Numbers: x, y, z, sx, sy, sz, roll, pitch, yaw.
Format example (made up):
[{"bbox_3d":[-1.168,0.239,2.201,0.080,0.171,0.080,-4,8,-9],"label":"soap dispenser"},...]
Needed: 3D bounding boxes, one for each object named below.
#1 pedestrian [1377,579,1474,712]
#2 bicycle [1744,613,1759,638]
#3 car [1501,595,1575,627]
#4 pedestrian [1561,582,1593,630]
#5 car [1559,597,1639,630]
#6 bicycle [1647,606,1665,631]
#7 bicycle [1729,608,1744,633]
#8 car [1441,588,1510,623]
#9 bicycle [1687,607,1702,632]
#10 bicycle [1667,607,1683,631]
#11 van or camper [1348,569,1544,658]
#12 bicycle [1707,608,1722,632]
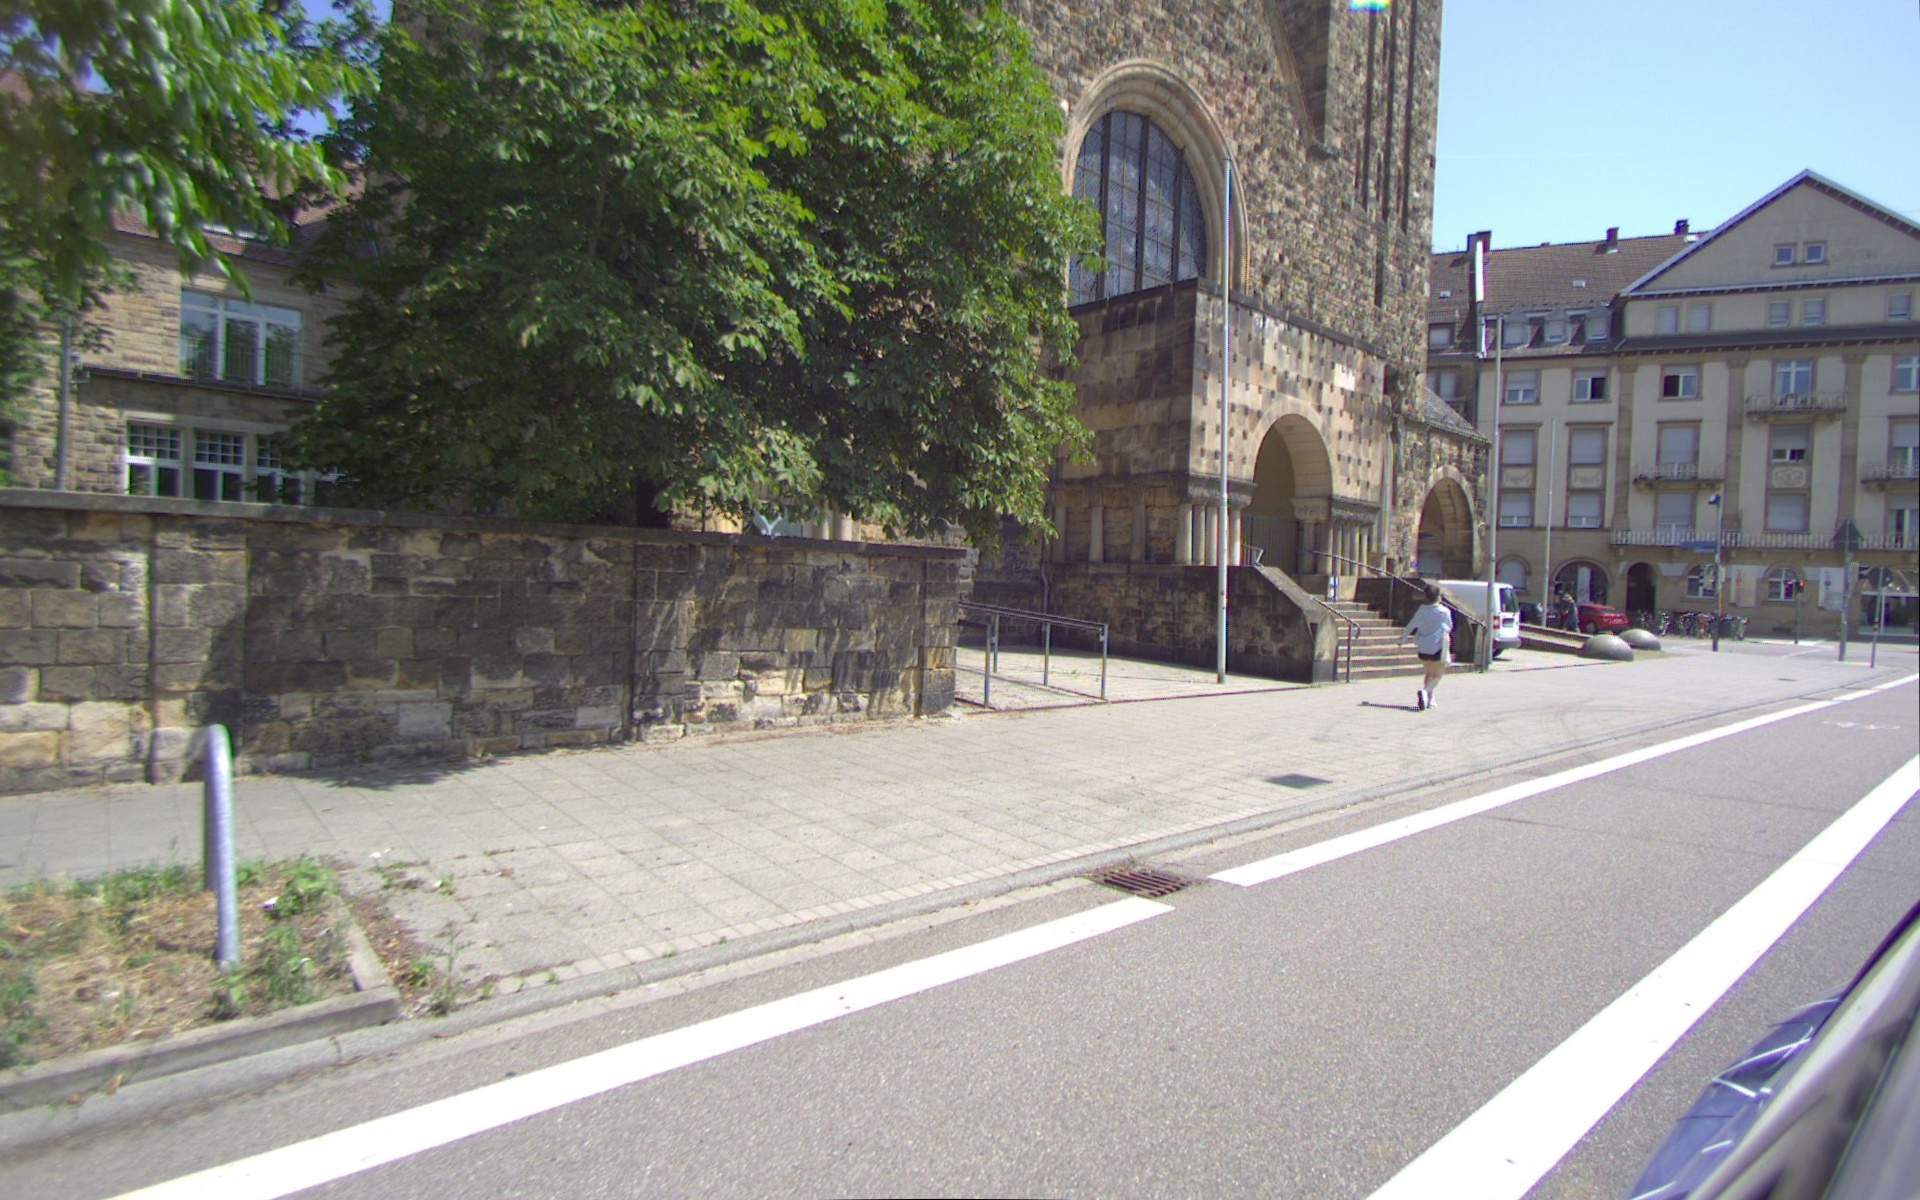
[{"bbox_3d":[6.144,0.569,13.359,0.949,1.671,0.795,1,0,-39],"label":"pedestrian"},{"bbox_3d":[39.096,1.253,49.987,0.562,1.165,2.032,2,2,38],"label":"bicycle"},{"bbox_3d":[30.729,0.547,53.903,1.583,1.497,3.235,0,3,-15],"label":"car"},{"bbox_3d":[24.038,0.224,39.412,0.817,1.845,0.745,1,0,-33],"label":"pedestrian"},{"bbox_3d":[33.081,0.657,52.468,1.583,1.497,3.235,0,3,-15],"label":"car"},{"bbox_3d":[35.608,0.930,51.771,0.560,1.165,1.787,2,2,29],"label":"bicycle"},{"bbox_3d":[39.394,1.040,51.339,0.562,1.165,1.780,2,2,38],"label":"bicycle"},{"bbox_3d":[27.986,0.273,55.016,1.583,1.685,3.235,0,3,-15],"label":"car"},{"bbox_3d":[37.703,0.984,51.937,0.562,1.165,1.780,2,2,38],"label":"bicycle"},{"bbox_3d":[36.638,0.955,51.859,0.562,1.165,1.780,2,2,38],"label":"bicycle"},{"bbox_3d":[12.098,0.269,25.366,1.772,1.847,3.995,1,3,-42],"label":"van or camper"},{"bbox_3d":[38.624,1.013,51.804,0.562,1.165,1.780,2,2,38],"label":"bicycle"}]
